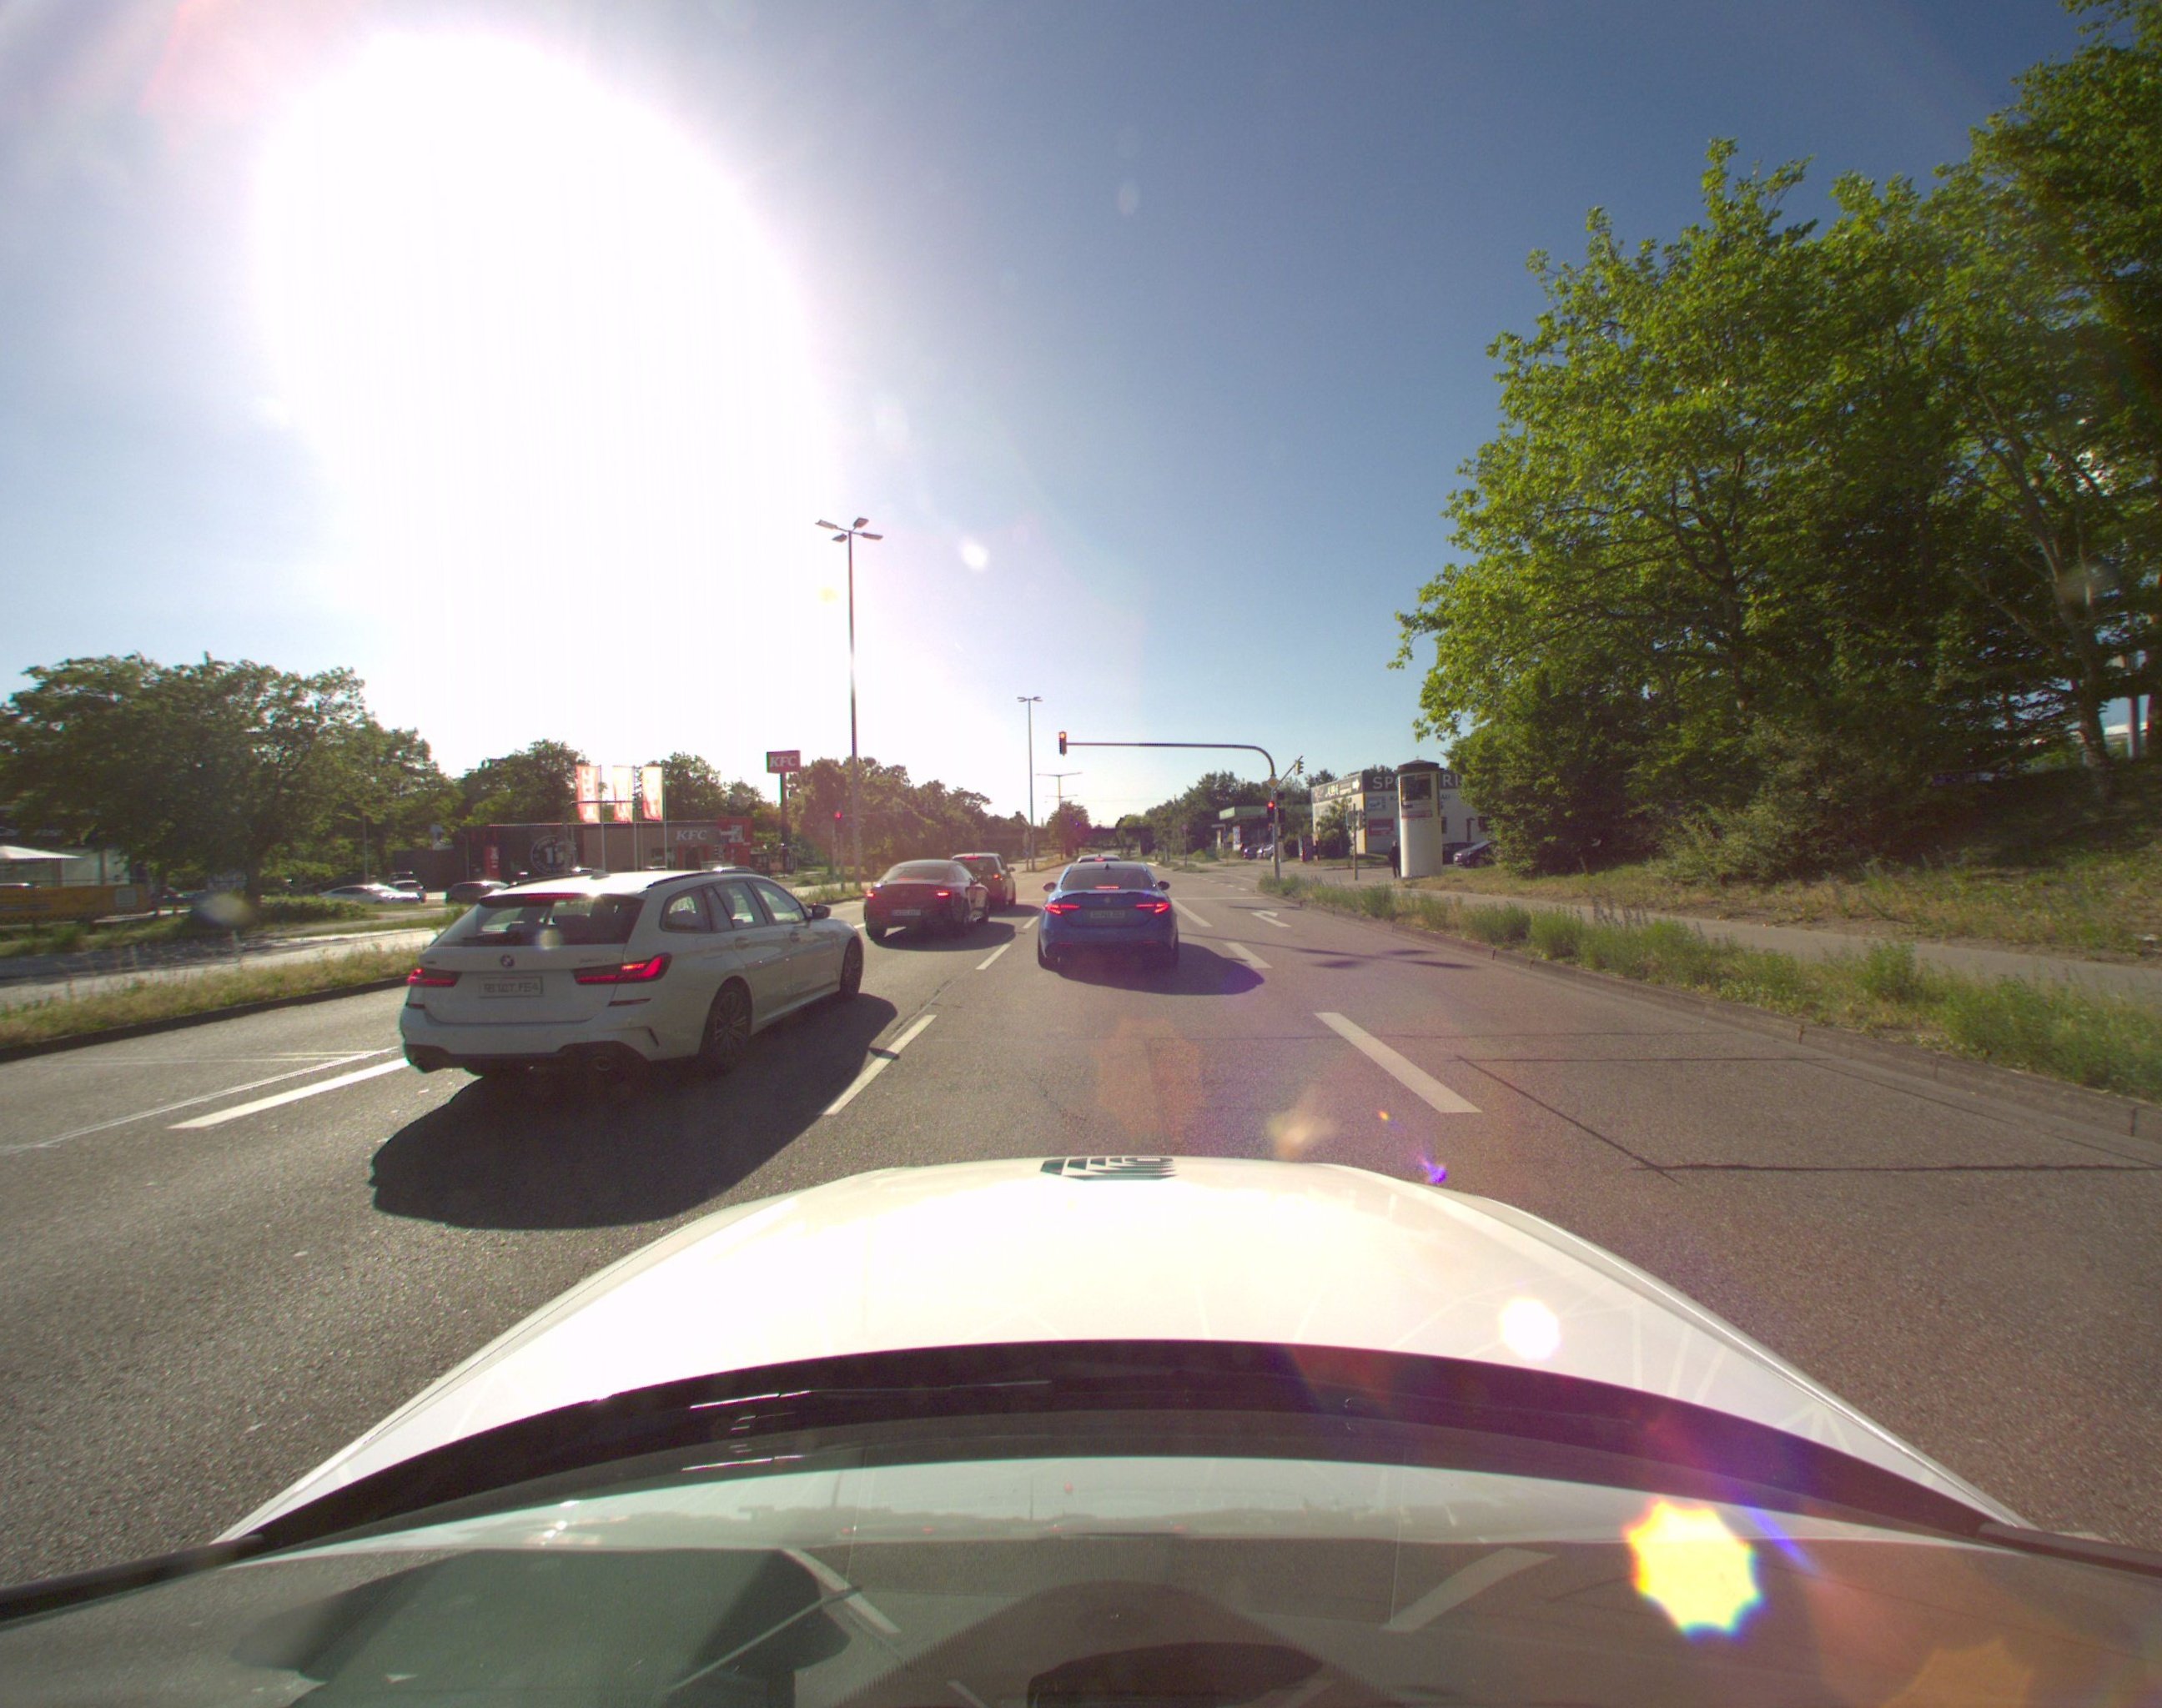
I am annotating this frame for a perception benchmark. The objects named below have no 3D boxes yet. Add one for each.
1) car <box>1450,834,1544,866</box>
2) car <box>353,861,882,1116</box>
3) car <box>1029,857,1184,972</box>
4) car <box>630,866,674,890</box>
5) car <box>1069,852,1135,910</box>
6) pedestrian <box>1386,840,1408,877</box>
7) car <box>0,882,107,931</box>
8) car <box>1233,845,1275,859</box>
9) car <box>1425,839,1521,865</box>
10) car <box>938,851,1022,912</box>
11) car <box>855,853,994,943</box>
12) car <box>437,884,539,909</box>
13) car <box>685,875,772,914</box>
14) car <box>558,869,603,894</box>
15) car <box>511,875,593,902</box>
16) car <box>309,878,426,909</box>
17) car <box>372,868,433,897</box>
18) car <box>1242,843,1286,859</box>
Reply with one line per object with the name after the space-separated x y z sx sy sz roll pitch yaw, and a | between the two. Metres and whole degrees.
22.642 -0.209 44.392 4.291 1.650 1.638 0 -1 1 | car
-3.296 0.812 7.088 1.805 1.486 4.599 0 -1 2 | car
0.434 0.766 11.920 1.901 1.423 3.722 0 -1 4 | car
-33.595 1.851 63.729 1.946 1.740 4.046 0 -1 -45 | car
0.661 0.720 22.870 1.696 1.497 3.722 0 -1 4 | car
14.452 0.205 37.259 0.814 1.669 0.514 0 -1 1 | pedestrian
-34.046 1.646 25.534 1.981 1.442 4.012 0 -1 11 | car
18.844 -0.198 88.746 3.995 1.552 1.989 0 -1 -16 | car
22.956 -0.107 47.797 4.803 1.468 1.758 0 -1 0 | car
-2.778 0.734 23.255 1.806 1.551 4.353 0 -1 0 | car
-2.962 0.765 16.450 1.805 1.551 4.544 -1 0 1 | car
-31.908 2.293 43.906 4.070 1.252 1.871 0 -1 0 | car
-17.998 2.036 41.807 1.790 1.726 4.338 -1 0 14 | car
-37.070 2.001 60.265 1.946 1.740 4.046 0 -1 -45 | car
-33.110 2.142 51.061 3.752 1.559 1.998 0 -1 -3 | car
-38.820 2.160 44.405 4.608 1.579 1.936 0 -1 0 | car
-44.921 1.858 53.906 3.724 1.813 2.013 -1 -1 32 | car
17.963 -0.269 80.053 3.971 1.552 2.001 0 -1 2 | car
